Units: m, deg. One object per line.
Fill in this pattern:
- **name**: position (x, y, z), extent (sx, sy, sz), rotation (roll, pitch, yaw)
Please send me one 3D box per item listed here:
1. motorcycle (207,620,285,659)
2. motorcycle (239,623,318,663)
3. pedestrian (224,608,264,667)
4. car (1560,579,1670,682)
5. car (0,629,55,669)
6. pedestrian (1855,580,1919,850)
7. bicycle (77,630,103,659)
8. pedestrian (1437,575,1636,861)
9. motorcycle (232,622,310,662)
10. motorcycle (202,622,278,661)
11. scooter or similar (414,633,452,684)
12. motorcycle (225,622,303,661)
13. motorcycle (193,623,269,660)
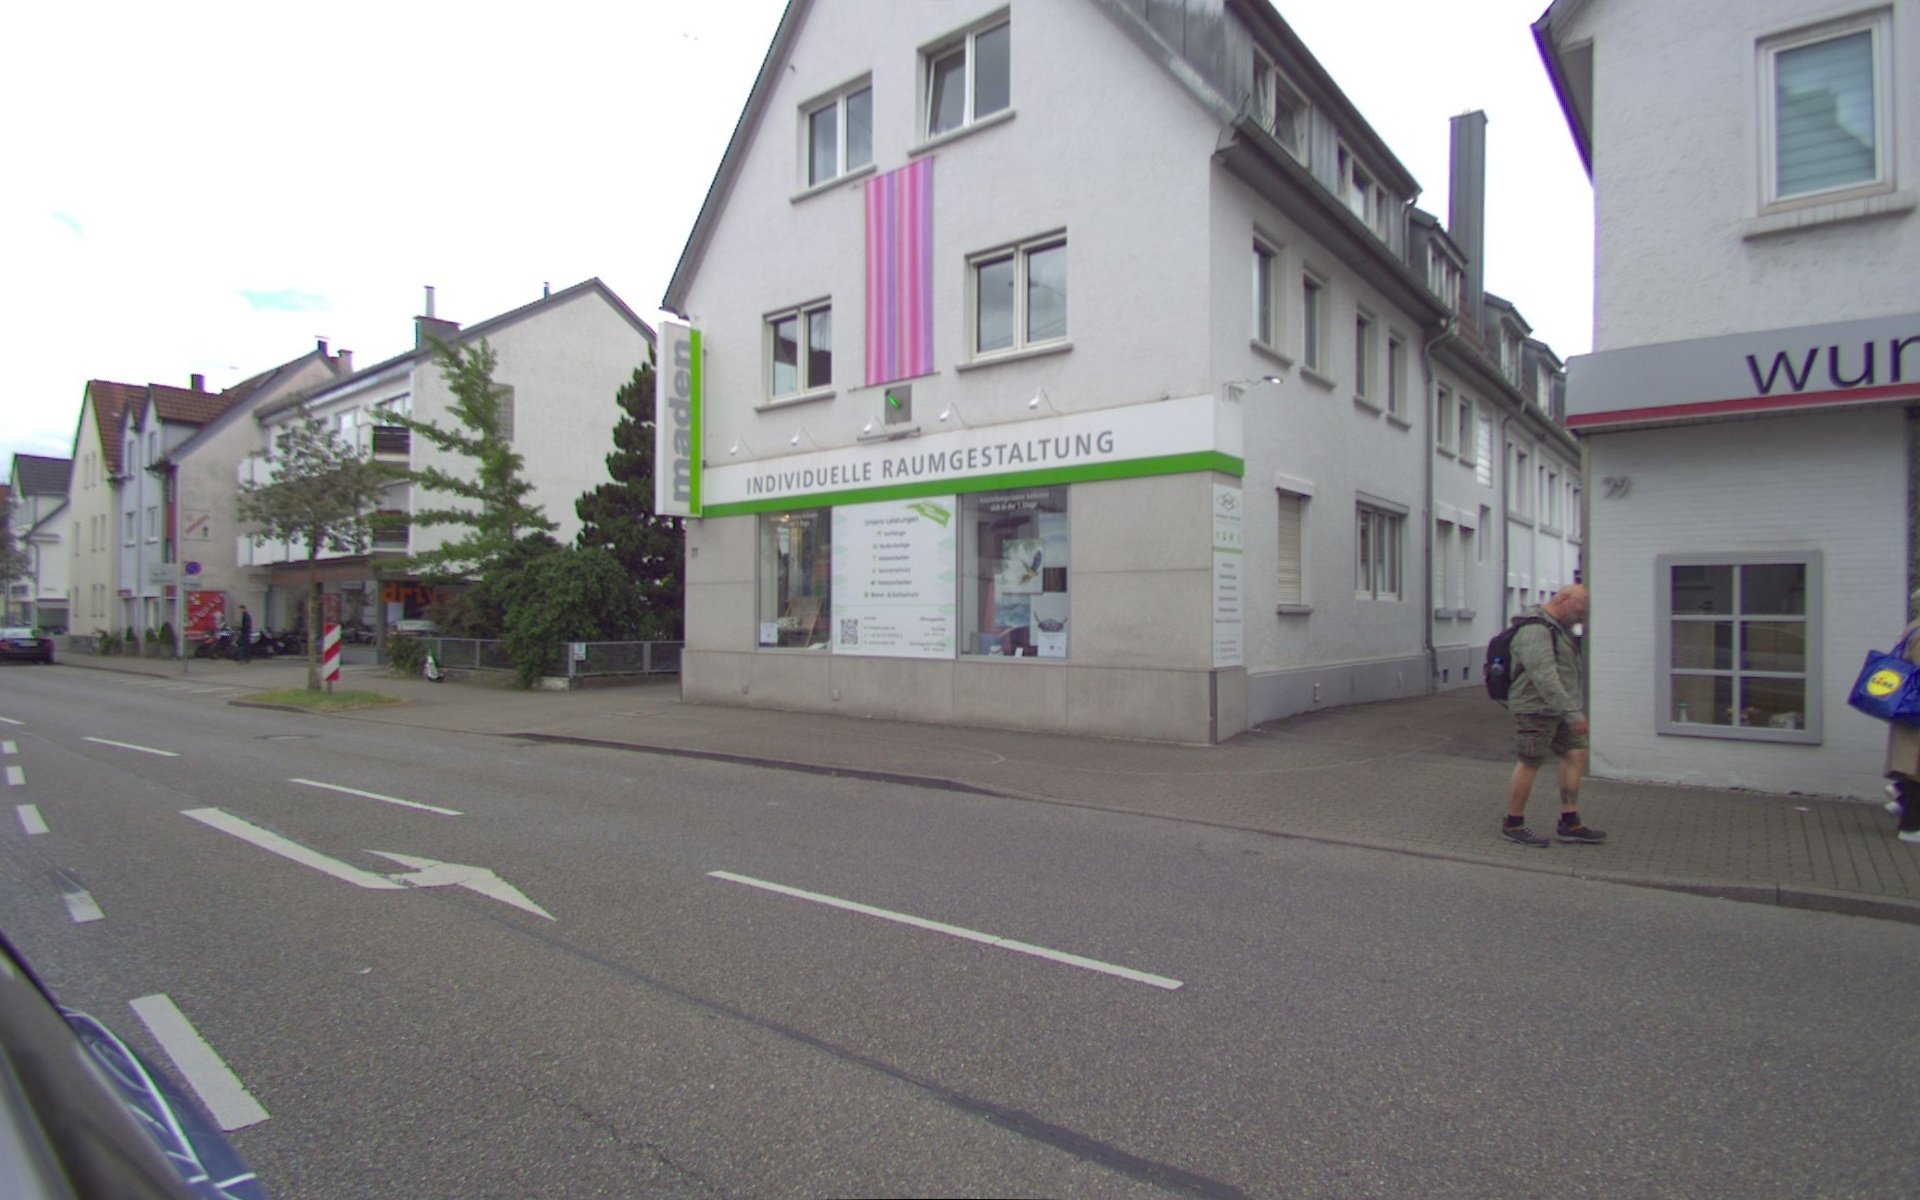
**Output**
- **motorcycle**: position (-26.170, 1.434, 37.141), extent (0.698, 1.275, 2.204), rotation (-1, 1, 38)
- **motorcycle**: position (-24.125, 1.496, 35.866), extent (0.612, 1.275, 2.204), rotation (-1, 1, 38)
- **pedestrian**: position (-23.446, 1.215, 33.141), extent (1.019, 1.863, 0.744), rotation (-1, 2, 40)
- **car**: position (18.157, 0.739, 27.915), extent (1.957, 2.527, 5.918), rotation (2, 1, 38)
- **car**: position (-36.257, 1.844, 38.733), extent (4.337, 1.428, 1.770), rotation (-1, -2, 39)
- **pedestrian**: position (6.197, 0.698, 6.373), extent (0.792, 1.629, 0.744), rotation (-1, 2, 40)
- **bicycle**: position (-37.668, 1.910, 43.810), extent (2.022, 1.205, 0.509), rotation (-1, -1, 39)
- **pedestrian**: position (3.887, 0.726, 6.833), extent (1.019, 1.756, 0.744), rotation (-1, 1, 40)
- **motorcycle**: position (-24.757, 1.492, 36.420), extent (0.612, 1.275, 2.204), rotation (-1, 1, 38)
- **motorcycle**: position (-26.785, 1.525, 37.674), extent (0.612, 1.275, 2.204), rotation (-1, 1, 38)
- **scooter or similar**: position (-12.001, 1.328, 23.040), extent (1.179, 1.120, 0.336), rotation (-1, -1, 41)
- **motorcycle**: position (-25.355, 1.504, 36.904), extent (0.612, 1.275, 2.204), rotation (-1, 1, 38)
- **motorcycle**: position (-27.407, 1.540, 38.079), extent (0.612, 1.275, 2.204), rotation (-1, 1, 38)
